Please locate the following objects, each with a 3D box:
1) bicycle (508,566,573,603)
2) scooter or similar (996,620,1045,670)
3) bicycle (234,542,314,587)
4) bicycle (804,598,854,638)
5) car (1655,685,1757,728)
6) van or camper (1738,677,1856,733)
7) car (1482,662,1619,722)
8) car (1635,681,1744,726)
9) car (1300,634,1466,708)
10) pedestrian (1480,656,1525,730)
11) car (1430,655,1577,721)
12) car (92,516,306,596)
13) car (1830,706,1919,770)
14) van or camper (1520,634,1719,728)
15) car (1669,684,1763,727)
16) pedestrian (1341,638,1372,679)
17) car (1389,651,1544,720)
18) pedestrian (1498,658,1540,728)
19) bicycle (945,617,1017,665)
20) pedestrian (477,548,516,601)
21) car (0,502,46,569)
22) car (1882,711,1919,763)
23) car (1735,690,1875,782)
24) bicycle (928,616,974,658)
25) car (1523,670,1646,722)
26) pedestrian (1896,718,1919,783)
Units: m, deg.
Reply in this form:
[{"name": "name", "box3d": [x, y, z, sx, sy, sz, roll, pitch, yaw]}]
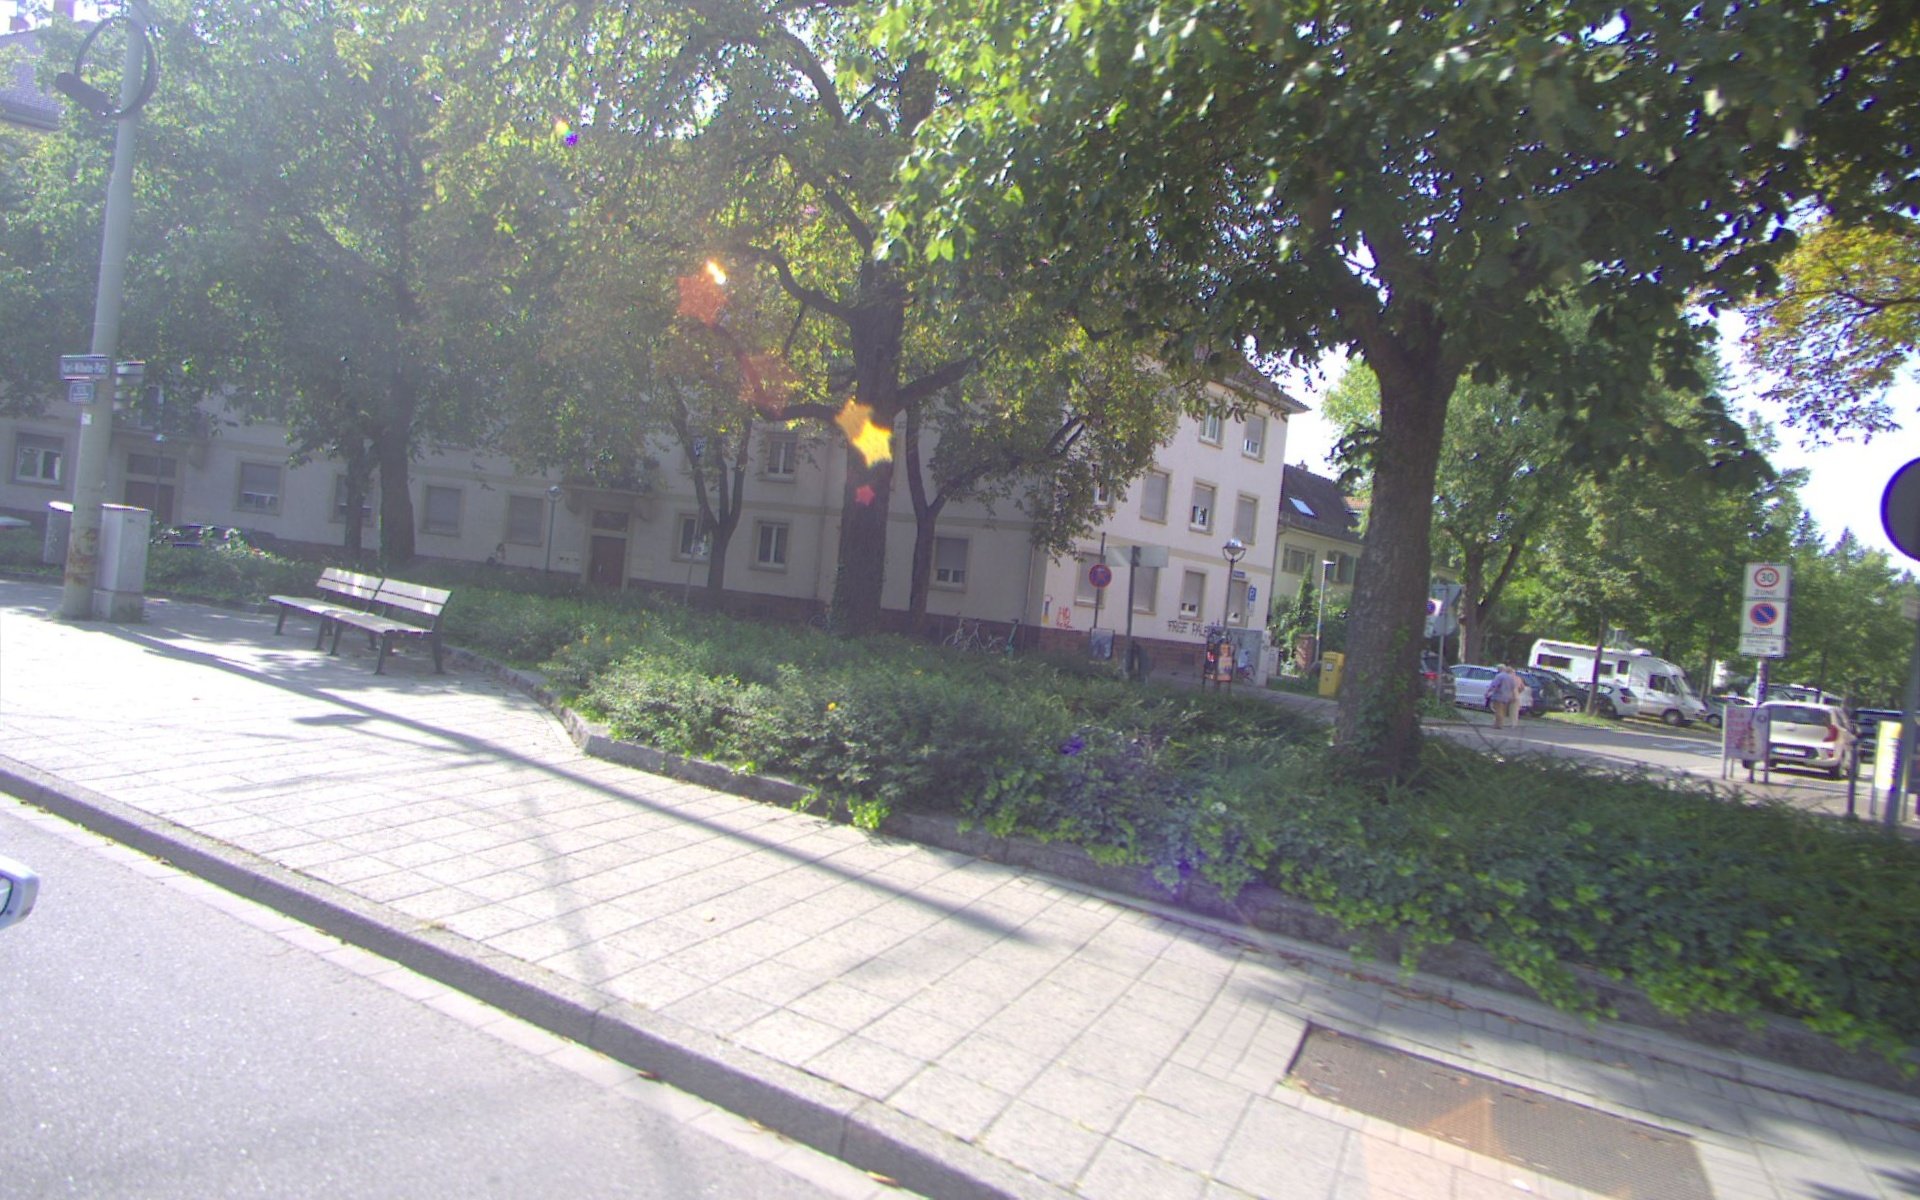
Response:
[{"name": "bicycle", "box3d": [-13.716, -0.500, 32.902, 1.873, 1.019, 0.534, 6, 0, 7]}, {"name": "scooter or similar", "box3d": [1.564, 1.161, 26.088, 1.100, 1.172, 0.439, 6, 0, -28]}, {"name": "bicycle", "box3d": [-20.611, -1.063, 30.254, 1.807, 1.071, 0.608, 8, 0, -5]}, {"name": "bicycle", "box3d": [-3.940, 0.540, 30.286, 1.463, 1.073, 0.416, 6, 1, 31]}, {"name": "car", "box3d": [38.967, 5.550, 52.586, 3.966, 1.454, 1.654, 10, 3, 43]}, {"name": "van or camper", "box3d": [62.283, 7.812, 74.985, 1.987, 2.916, 6.254, 9, 1, -41]}, {"name": "car", "box3d": [21.860, 3.380, 37.329, 3.966, 1.481, 1.654, 10, 3, 43]}, {"name": "car", "box3d": [35.519, 5.021, 49.040, 3.966, 1.386, 1.654, 10, 3, 43]}, {"name": "car", "box3d": [12.534, 2.084, 30.003, 1.651, 1.658, 4.146, 6, 0, -41]}, {"name": "pedestrian", "box3d": [14.024, 2.397, 26.013, 0.597, 1.786, 0.653, 6, 1, -11]}, {"name": "car", "box3d": [18.548, 2.990, 34.433, 3.966, 1.481, 1.654, 10, 3, 43]}, {"name": "car", "box3d": [-19.048, -1.089, 25.332, 3.822, 1.470, 1.748, 7, 1, -7]}, {"name": "car", "box3d": [27.646, 4.137, 30.277, 3.971, 1.586, 1.603, 7, 0, -41]}, {"name": "van or camper", "box3d": [29.324, 3.537, 44.999, 1.988, 2.916, 6.856, 9, 1, -42]}, {"name": "car", "box3d": [42.844, 5.961, 57.052, 3.966, 1.612, 1.654, 10, 3, 43]}, {"name": "pedestrian", "box3d": [16.463, 2.421, 41.767, 0.853, 1.566, 0.760, 6, 0, -43]}, {"name": "car", "box3d": [16.673, 2.795, 33.249, 4.137, 1.481, 1.654, 10, 3, 43]}, {"name": "pedestrian", "box3d": [15.061, 2.511, 27.110, 0.597, 1.786, 0.589, 6, 1, -13]}, {"name": "bicycle", "box3d": [0.551, 1.090, 26.499, 1.823, 1.071, 0.602, 7, 0, -37]}, {"name": "pedestrian", "box3d": [-15.859, -0.868, 34.409, 0.850, 1.692, 0.688, 6, 1, 0]}, {"name": "car", "box3d": [-24.977, -1.776, 23.535, 4.886, 1.488, 1.865, 6, 2, -22]}, {"name": "car", "box3d": [35.397, 5.084, 37.060, 3.971, 1.722, 1.603, 7, 0, -41]}, {"name": "car", "box3d": [18.040, 2.880, 21.411, 3.971, 1.586, 1.603, 7, 0, -41]}, {"name": "bicycle", "box3d": [-0.223, 1.021, 27.518, 0.597, 1.071, 1.870, 6, 0, 18]}, {"name": "car", "box3d": [25.858, 3.950, 41.730, 3.966, 1.386, 1.654, 10, 3, 43]}, {"name": "pedestrian", "box3d": [20.766, 3.261, 21.665, 0.674, 1.342, 0.710, 5, 1, -41]}]
